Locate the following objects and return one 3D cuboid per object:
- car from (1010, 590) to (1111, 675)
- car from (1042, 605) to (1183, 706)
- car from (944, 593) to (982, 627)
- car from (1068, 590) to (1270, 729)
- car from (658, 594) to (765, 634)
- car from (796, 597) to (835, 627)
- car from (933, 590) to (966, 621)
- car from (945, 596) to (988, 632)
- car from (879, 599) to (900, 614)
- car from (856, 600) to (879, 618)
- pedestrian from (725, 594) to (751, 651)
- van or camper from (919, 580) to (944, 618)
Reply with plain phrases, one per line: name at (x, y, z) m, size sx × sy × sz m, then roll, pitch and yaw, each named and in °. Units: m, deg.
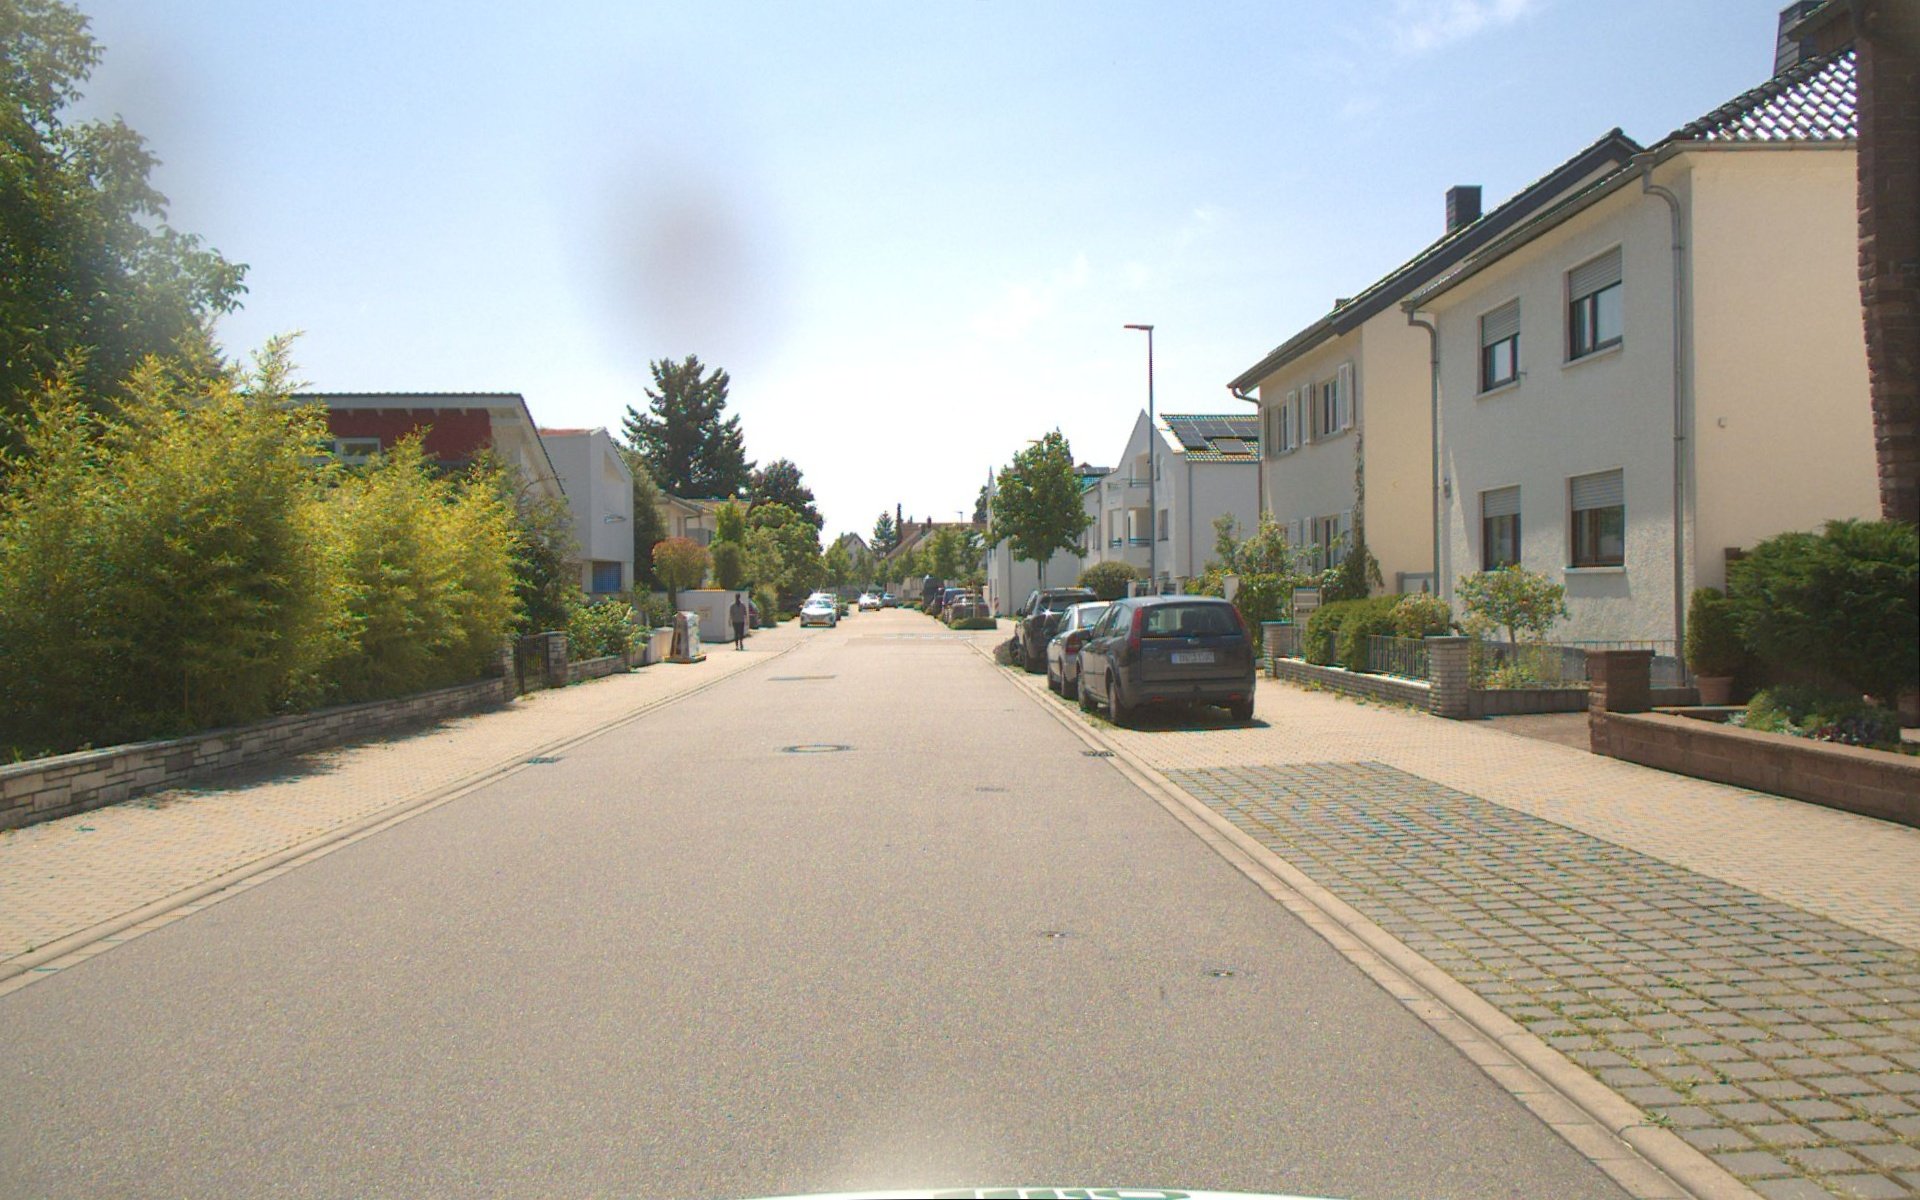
car at (2.103, 0.646, 35.796) m, size 1.777 × 1.685 × 4.563 m, roll -1°, pitch 1°, yaw -1°
car at (2.374, 0.825, 26.612) m, size 1.777 × 1.445 × 4.091 m, roll -1°, pitch 0°, yaw -2°
car at (0.169, 0.574, 95.965) m, size 2.057 × 1.915 × 4.841 m, roll -1°, pitch 0°, yaw -1°
car at (2.538, 0.674, 21.091) m, size 1.707 × 1.560 × 4.445 m, roll -1°, pitch 0°, yaw -4°
car at (-10.923, 0.616, 72.947) m, size 4.337 × 1.499 × 1.851 m, roll 3°, pitch 0°, yaw 1°
car at (-7.586, 0.615, 87.389) m, size 1.815 × 1.514 × 4.383 m, roll -1°, pitch 0°, yaw -2°
car at (-0.734, 0.345, 110.671) m, size 1.953 × 1.981 × 5.212 m, roll -2°, pitch 0°, yaw -2°
car at (0.280, 0.647, 79.047) m, size 1.738 × 1.623 × 4.275 m, roll 0°, pitch 0°, yaw -5°
car at (-7.140, 0.652, 168.347) m, size 1.953 × 1.455 × 3.999 m, roll 0°, pitch 0°, yaw -1°
car at (-8.255, 0.804, 147.910) m, size 1.815 × 1.504 × 4.699 m, roll -1°, pitch 0°, yaw -1°
pedestrian at (-6.983, 0.702, 51.958) m, size 0.700 × 1.778 × 0.960 m, roll 0°, pitch 0°, yaw -2°
van or camper at (-2.348, -0.079, 135.177) m, size 1.954 × 2.993 × 3.998 m, roll -1°, pitch 0°, yaw -3°
